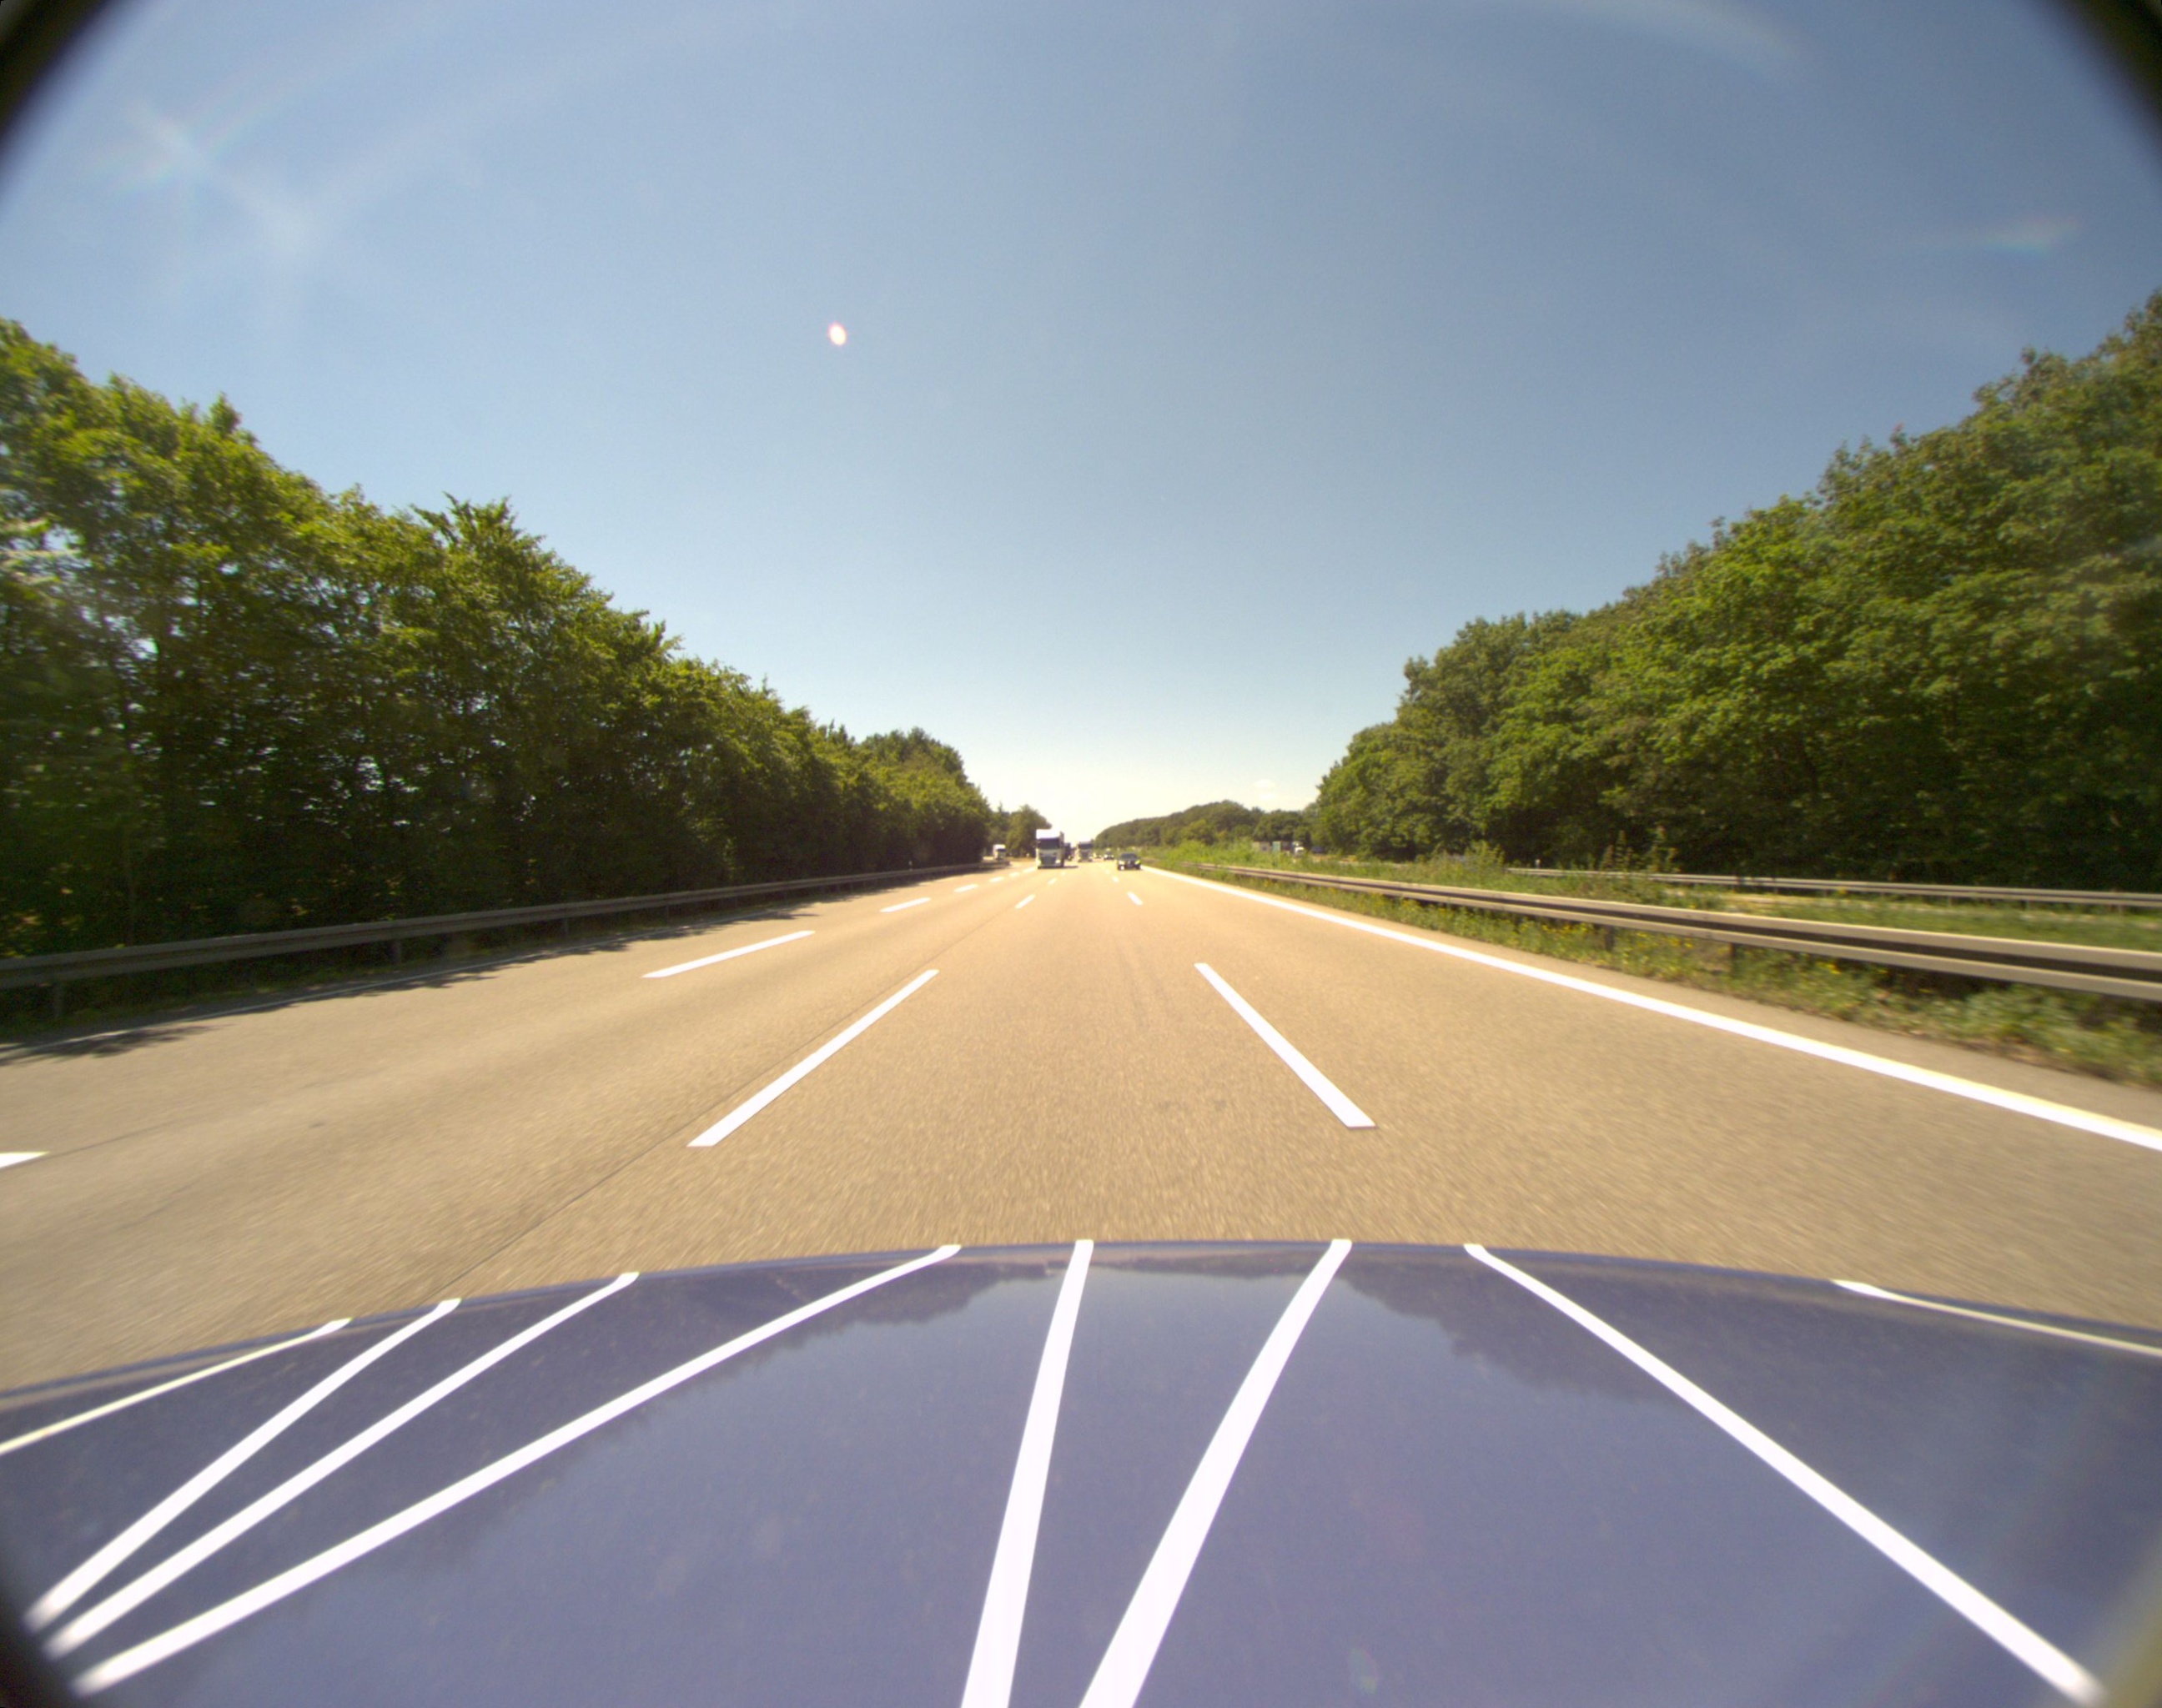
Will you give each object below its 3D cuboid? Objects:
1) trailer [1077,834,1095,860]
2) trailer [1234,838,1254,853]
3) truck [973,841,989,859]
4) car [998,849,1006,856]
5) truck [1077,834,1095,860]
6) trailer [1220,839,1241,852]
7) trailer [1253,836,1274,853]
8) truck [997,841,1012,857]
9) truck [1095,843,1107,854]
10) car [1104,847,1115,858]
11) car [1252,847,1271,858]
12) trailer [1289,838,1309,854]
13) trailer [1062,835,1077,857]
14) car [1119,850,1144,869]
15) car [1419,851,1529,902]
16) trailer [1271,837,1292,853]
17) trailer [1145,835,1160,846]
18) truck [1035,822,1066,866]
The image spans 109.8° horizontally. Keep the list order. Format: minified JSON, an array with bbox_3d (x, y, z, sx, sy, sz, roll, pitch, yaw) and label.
[{"bbox_3d":[0.845,-1.257,133.547,2.863,4.247,11.470,-2,1,0],"label":"trailer"},{"bbox_3d":[50.589,-2.562,236.377,3.610,4.565,14.023,0,0,1],"label":"trailer"},{"bbox_3d":[-25.786,-1.000,194.975,3.395,4.233,6.609,-3,1,-13],"label":"truck"},{"bbox_3d":[-21.867,-0.470,211.044,1.999,1.700,4.677,1,0,-4],"label":"car"},{"bbox_3d":[0.822,-1.195,127.172,2.863,4.247,5.410,-2,1,0],"label":"truck"},{"bbox_3d":[50.411,-2.853,256.302,3.611,4.239,14.018,0,0,-2],"label":"trailer"},{"bbox_3d":[46.492,-2.364,194.117,3.222,4.112,14.054,-2,1,6],"label":"trailer"},{"bbox_3d":[-22.424,-1.569,222.226,3.395,4.437,7.382,-3,1,-10],"label":"truck"},{"bbox_3d":[4.801,-1.377,184.269,2.576,2.461,5.614,-2,1,0],"label":"truck"},{"bbox_3d":[5.145,-0.287,135.528,1.806,1.774,3.999,-1,1,1],"label":"car"},{"bbox_3d":[27.962,-0.173,118.027,1.976,1.585,3.999,-3,1,0],"label":"car"},{"bbox_3d":[51.723,-1.891,180.837,3.606,3.634,14.035,0,0,12],"label":"trailer"},{"bbox_3d":[-2.253,-1.541,152.122,2.863,4.247,11.469,-1,1,-1],"label":"trailer"},{"bbox_3d":[4.185,0.433,63.736,1.811,1.399,3.998,-2,2,0],"label":"car"},{"bbox_3d":[13.237,0.702,25.864,1.719,1.554,4.000,-1,1,1],"label":"car"},{"bbox_3d":[57.365,-2.552,217.248,3.608,4.565,14.028,0,0,6],"label":"trailer"},{"bbox_3d":[23.295,-4.332,248.160,3.206,3.559,15.966,-2,1,1],"label":"trailer"},{"bbox_3d":[-3.141,-1.034,79.911,2.863,4.247,6.862,-2,1,-1],"label":"truck"}]
